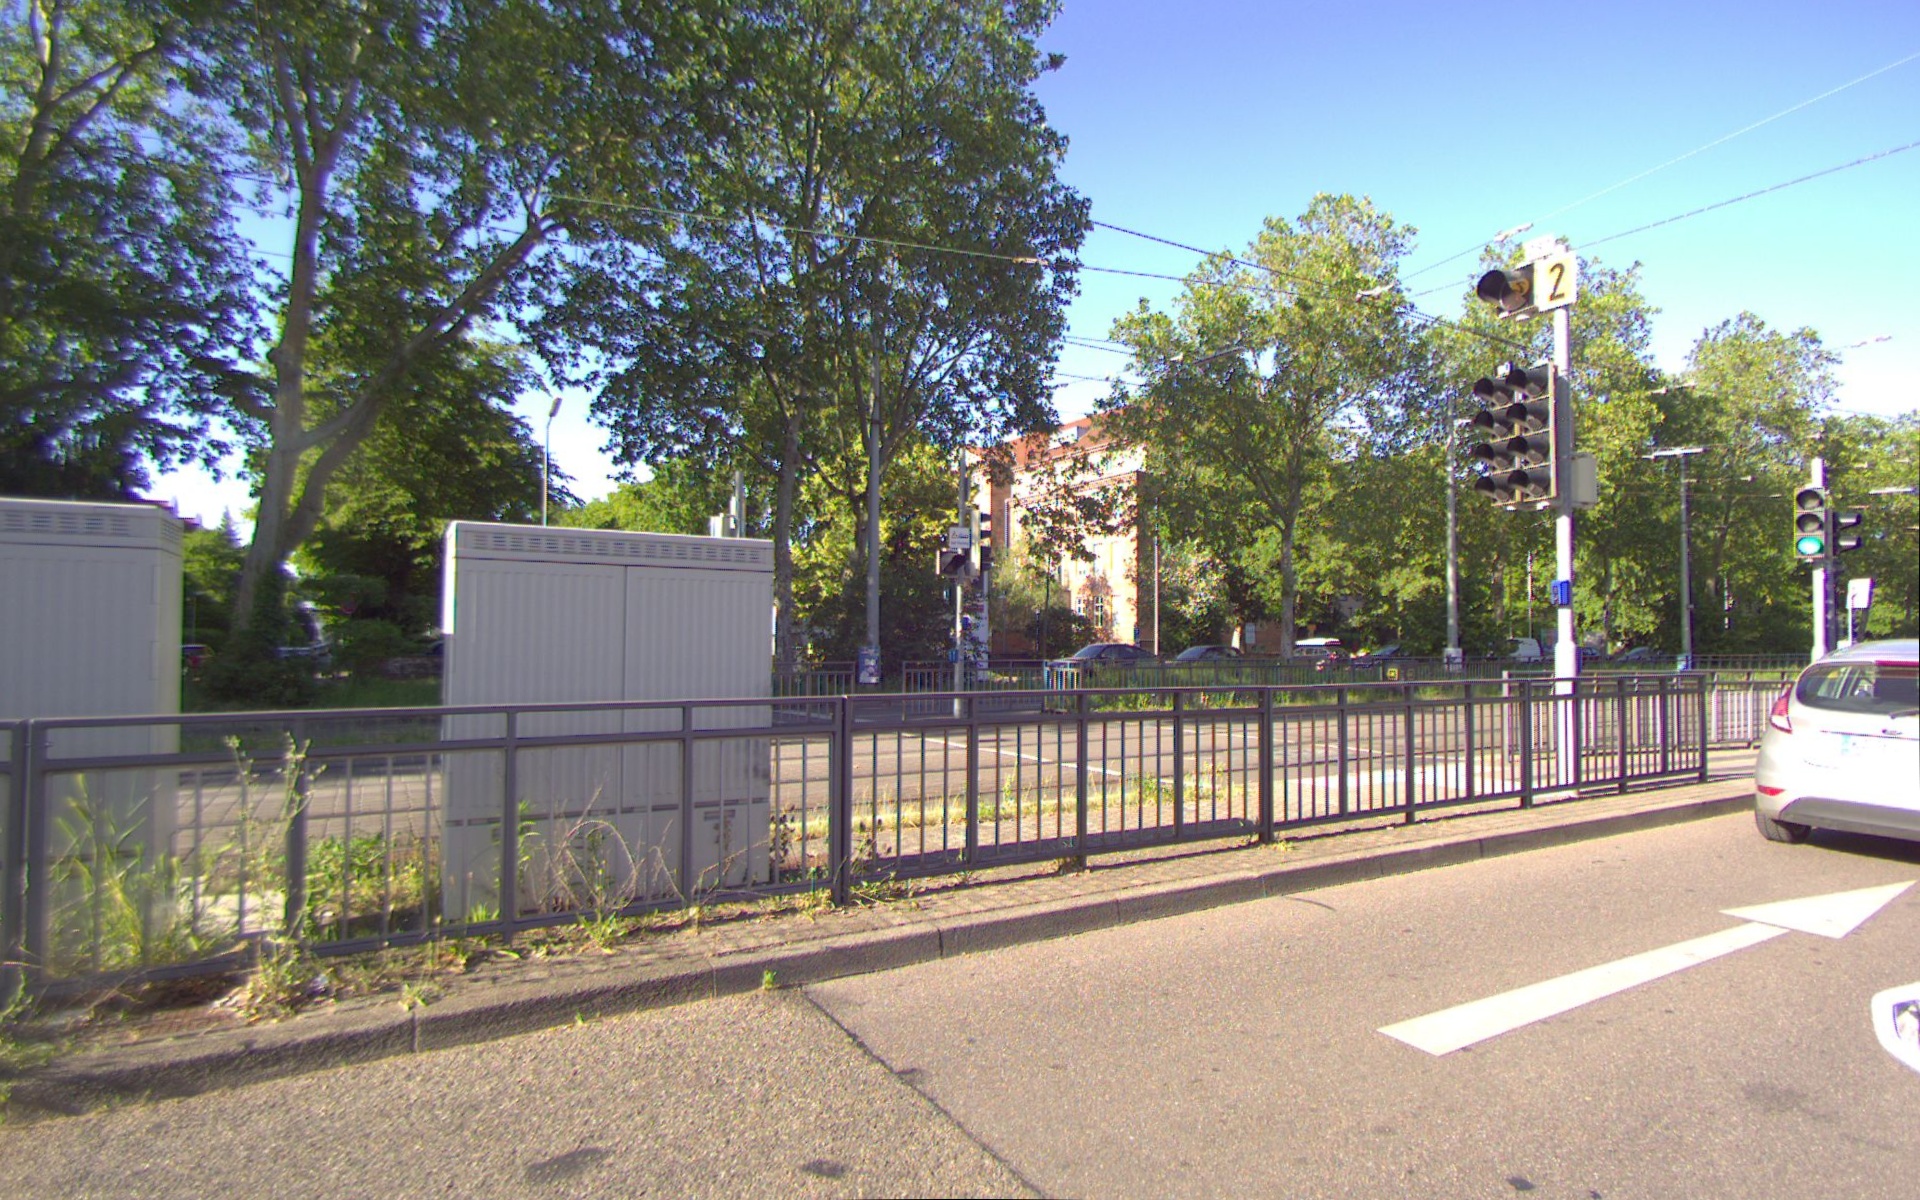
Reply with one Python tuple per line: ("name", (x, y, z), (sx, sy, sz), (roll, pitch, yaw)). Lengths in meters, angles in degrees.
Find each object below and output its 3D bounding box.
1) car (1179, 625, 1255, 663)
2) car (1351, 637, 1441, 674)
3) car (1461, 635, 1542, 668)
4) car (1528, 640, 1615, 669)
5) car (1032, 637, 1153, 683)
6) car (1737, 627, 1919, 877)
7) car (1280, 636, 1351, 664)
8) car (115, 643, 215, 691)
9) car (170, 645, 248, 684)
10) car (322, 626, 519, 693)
("car", (14.437, 2.450, 56.388), (3.953, 2.040, 1.984), (1, -2, -30))
("car", (19.241, 2.413, 44.293), (4.099, 1.529, 1.660), (2, -2, -32))
("car", (26.480, 2.497, 49.094), (4.099, 1.529, 1.660), (2, -2, -32))
("car", (31.774, 2.830, 52.185), (4.795, 1.366, 1.926), (3, -2, -32))
("car", (4.681, 2.059, 35.333), (4.099, 1.529, 1.660), (1, -2, -32))
("car", (7.274, 0.948, 7.129), (3.847, 1.487, 1.600), (1, -2, -33))
("car", (20.164, 2.807, 57.132), (1.375, 1.514, 3.974), (1, -2, -26))
("car", (-26.460, 2.191, 33.571), (1.976, 1.437, 3.969), (1, -2, -29))
("car", (-30.512, 2.585, 40.920), (1.976, 1.437, 3.969), (1, -2, -29))
("car", (-13.140, 1.422, 24.572), (4.099, 1.529, 1.660), (2, -2, -32))
